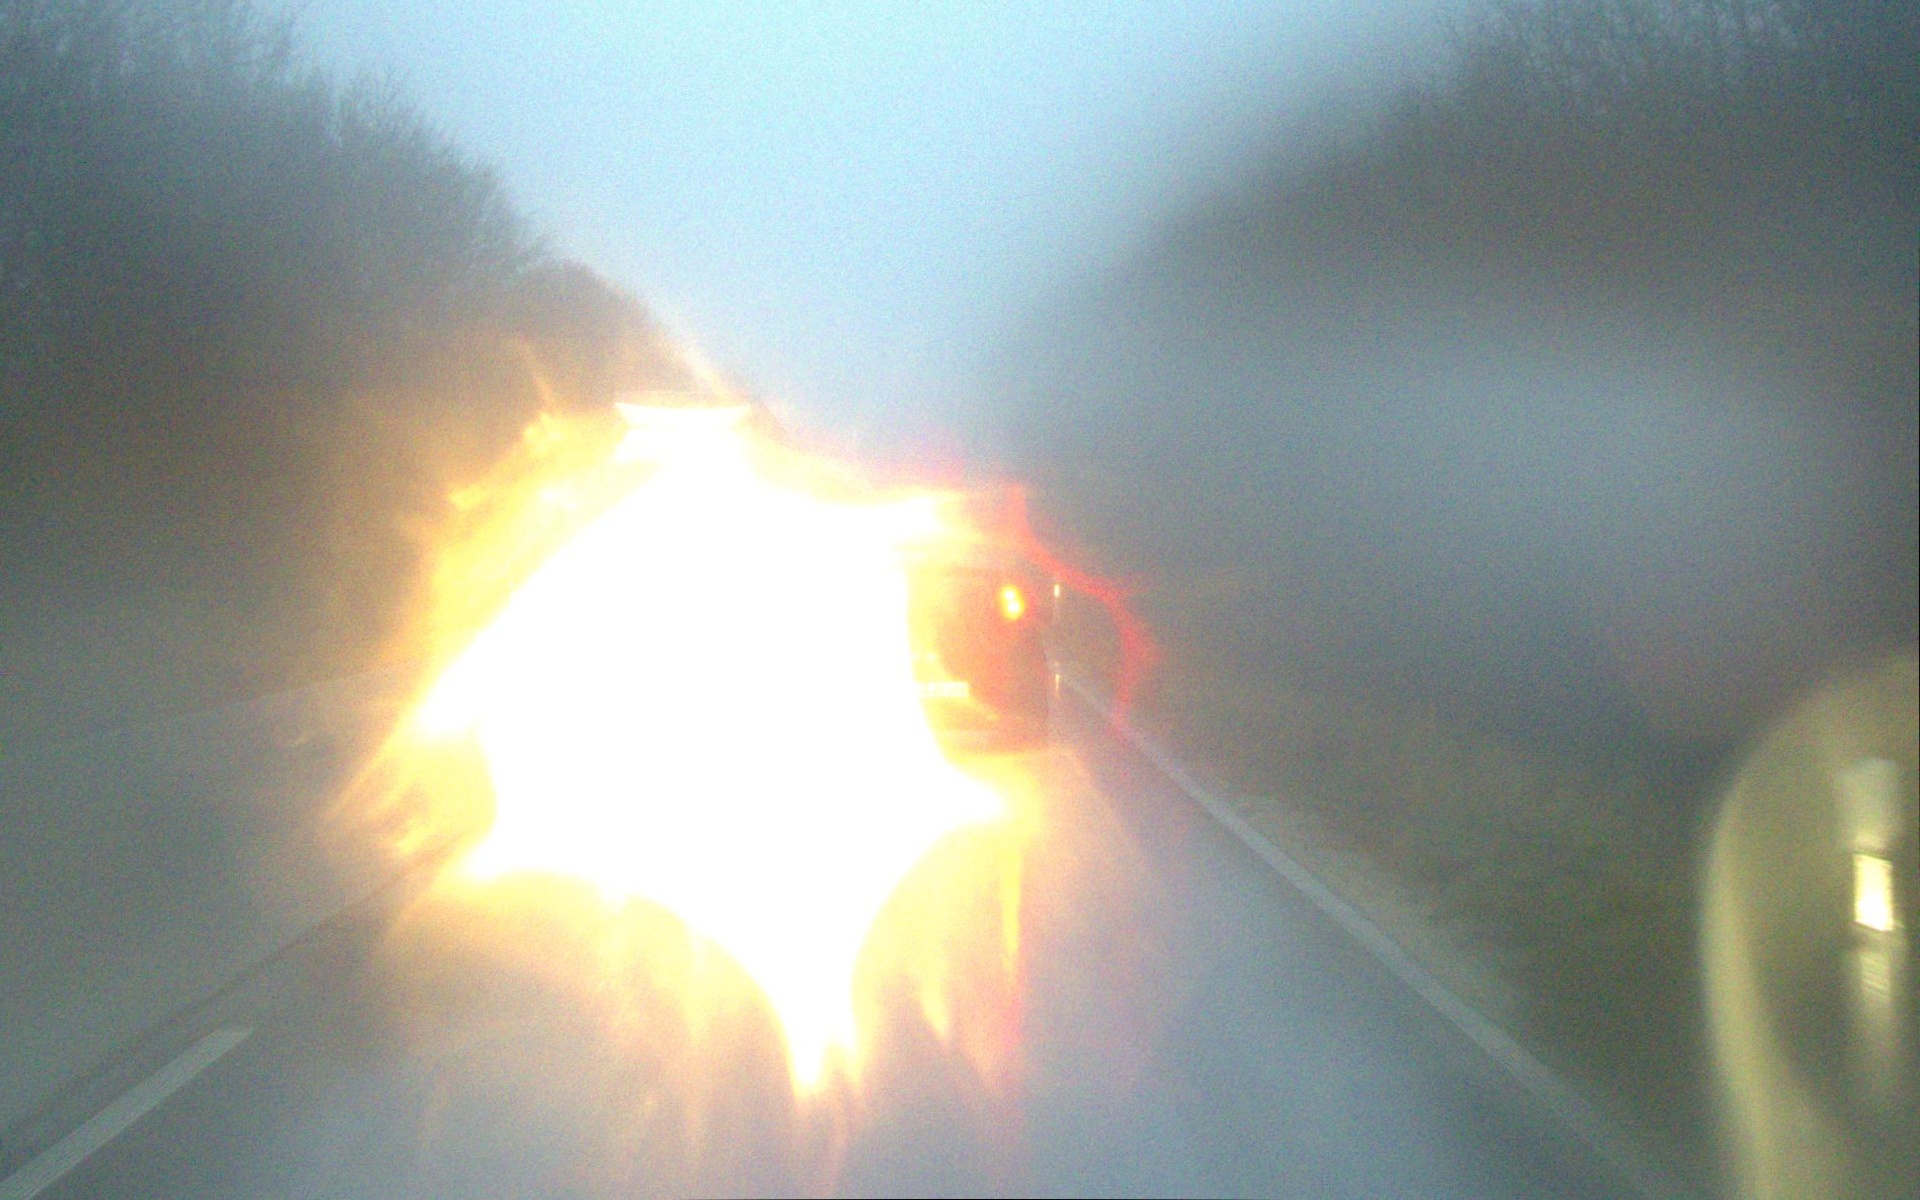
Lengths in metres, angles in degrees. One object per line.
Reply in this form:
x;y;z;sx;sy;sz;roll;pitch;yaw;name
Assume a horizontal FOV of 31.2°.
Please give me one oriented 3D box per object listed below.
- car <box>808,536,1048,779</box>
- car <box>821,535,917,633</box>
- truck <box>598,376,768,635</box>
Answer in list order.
-0.225;0.375;25.549;1.648;1.666;3.514;1;1;0;car
-1.698;-0.329;64.823;1.733;1.773;4.000;1;1;-1;car
-4.901;-1.659;61.673;2.642;4.401;5.554;1;1;-1;truck
